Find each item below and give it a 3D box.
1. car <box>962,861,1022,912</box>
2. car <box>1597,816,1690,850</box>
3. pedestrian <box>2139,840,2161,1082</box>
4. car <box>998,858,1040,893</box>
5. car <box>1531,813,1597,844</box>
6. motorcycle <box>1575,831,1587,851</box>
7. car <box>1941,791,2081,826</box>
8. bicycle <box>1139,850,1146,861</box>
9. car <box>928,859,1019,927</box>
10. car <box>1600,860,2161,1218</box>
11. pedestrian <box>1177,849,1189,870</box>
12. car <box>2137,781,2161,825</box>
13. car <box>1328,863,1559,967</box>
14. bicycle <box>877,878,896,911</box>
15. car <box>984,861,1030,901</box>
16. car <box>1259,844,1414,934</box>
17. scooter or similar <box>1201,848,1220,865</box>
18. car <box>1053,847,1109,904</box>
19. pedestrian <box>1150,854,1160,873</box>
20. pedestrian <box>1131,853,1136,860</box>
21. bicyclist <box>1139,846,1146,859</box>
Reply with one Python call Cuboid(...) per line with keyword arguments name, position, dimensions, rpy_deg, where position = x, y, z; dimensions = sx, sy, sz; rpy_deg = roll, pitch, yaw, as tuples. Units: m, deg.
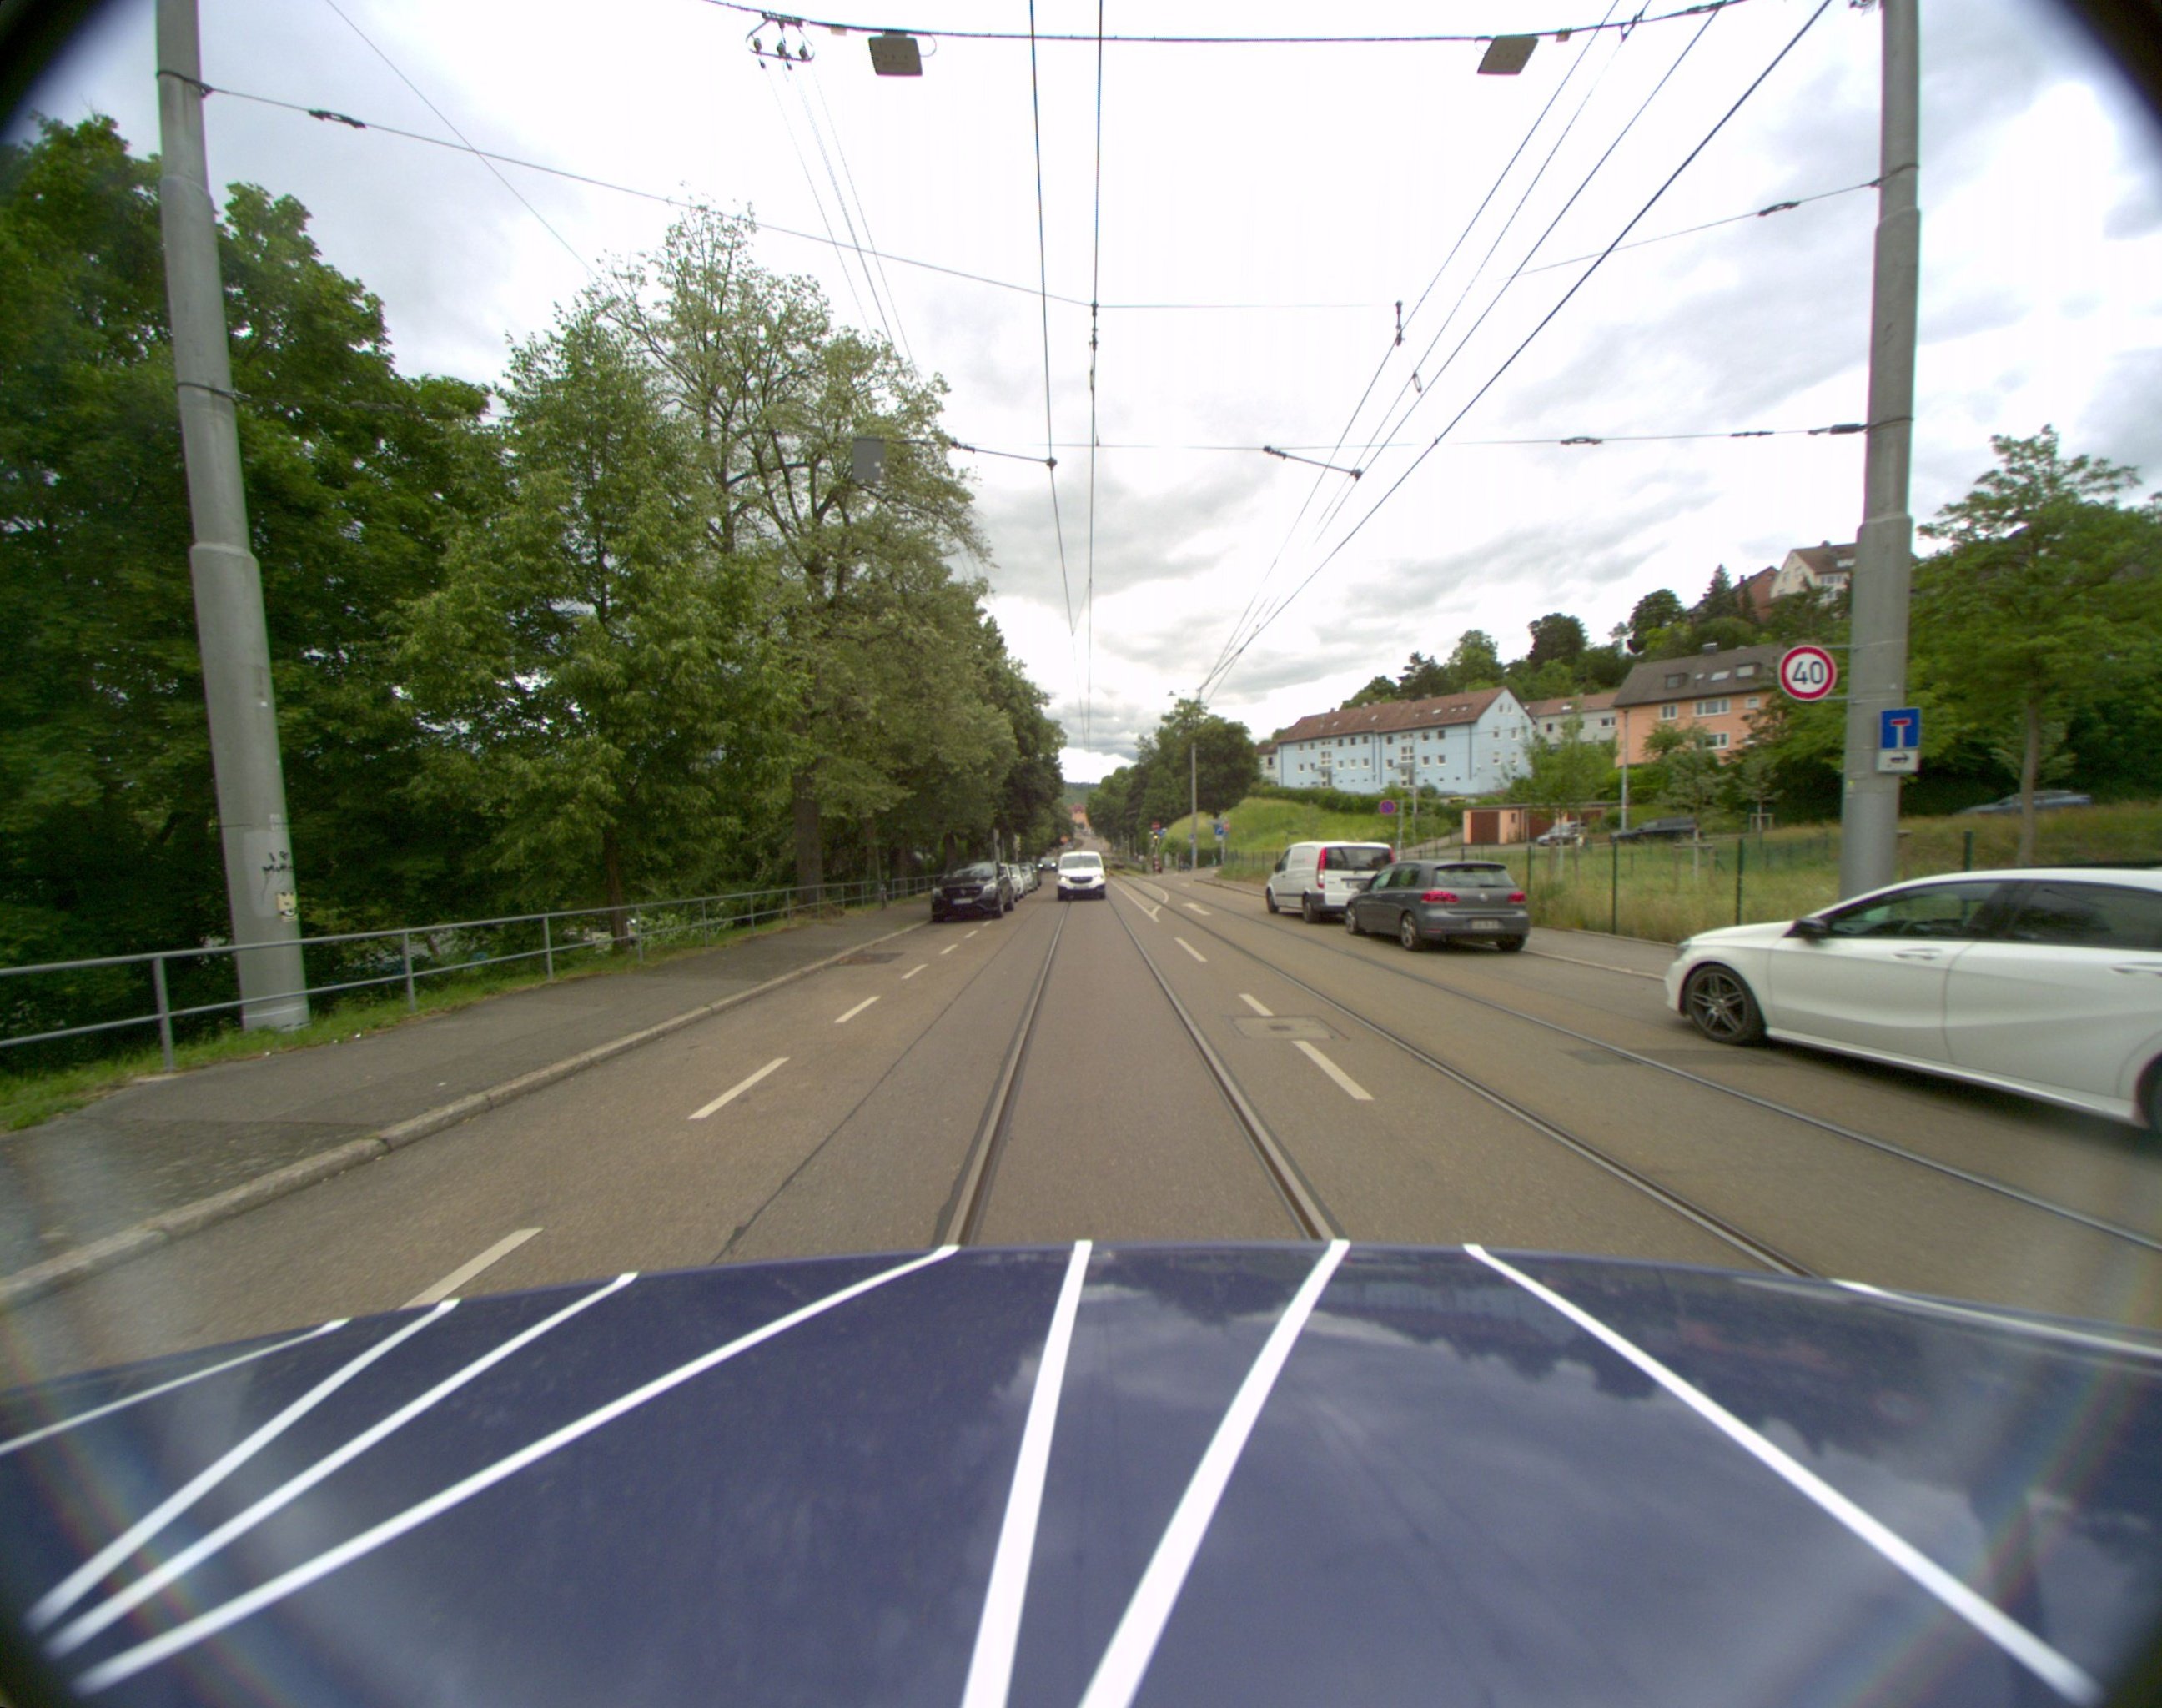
Cuboid(name="car", position=(-3.312, 1.182, 29.078), dimensions=(1.730, 1.622, 4.087), rpy_deg=(-6, 0, -1))
Cuboid(name="car", position=(34.643, -1.273, 46.868), dimensions=(4.440, 1.680, 1.980), rpy_deg=(-6, -1, 38))
Cuboid(name="pedestrian", position=(7.602, 0.710, 4.713), dimensions=(0.807, 1.619, 0.916), rpy_deg=(-2, 2, 1))
Cuboid(name="car", position=(-3.155, 1.070, 39.523), dimensions=(1.738, 1.566, 4.364), rpy_deg=(-2, 1, 0))
Cuboid(name="car", position=(34.311, -1.790, 53.944), dimensions=(4.885, 1.604, 1.995), rpy_deg=(-9, 5, -32))
Cuboid(name="motorcycle", position=(32.145, -0.854, 48.817), dimensions=(0.520, 1.151, 1.707), rpy_deg=(-1, 6, 36))
Cuboid(name="car", position=(46.359, -2.239, 38.016), dimensions=(4.120, 1.503, 1.986), rpy_deg=(-1, 2, 40))
Cuboid(name="bicycle", position=(7.618, 0.204, 93.696), dimensions=(0.752, 1.232, 2.867), rpy_deg=(-3, 0, 4))
Cuboid(name="car", position=(-3.110, 1.063, 23.048), dimensions=(1.882, 1.668, 5.062), rpy_deg=(-4, 0, 1))
Cuboid(name="car", position=(5.799, 0.852, 4.789), dimensions=(1.890, 1.517, 4.663), rpy_deg=(-1, 1, 0))
Cuboid(name="pedestrian", position=(8.535, 0.477, 63.581), dimensions=(0.901, 1.740, 0.743), rpy_deg=(-2, 2, 14))
Cuboid(name="car", position=(51.560, -2.408, 34.335), dimensions=(4.120, 2.002, 1.986), rpy_deg=(-1, 2, 39))
Cuboid(name="car", position=(5.990, 0.915, 13.288), dimensions=(1.901, 1.424, 4.511), rpy_deg=(-1, 0, 0))
Cuboid(name="bicycle", position=(-6.513, 1.339, 25.451), dimensions=(0.428, 0.970, 1.793), rpy_deg=(-3, 1, -10))
Cuboid(name="car", position=(-3.238, 1.156, 33.970), dimensions=(1.633, 1.507, 4.063), rpy_deg=(-5, 0, -1))
Cuboid(name="car", position=(6.010, 0.722, 18.614), dimensions=(2.041, 1.871, 4.883), rpy_deg=(1, 1, -1))
Cuboid(name="scooter or similar", position=(11.029, 0.196, 64.886), dimensions=(1.412, 1.282, 0.418), rpy_deg=(-6, 2, 1))
Cuboid(name="car", position=(0.070, 0.748, 29.430), dimensions=(1.809, 1.910, 4.478), rpy_deg=(-2, 1, 4))
Cuboid(name="pedestrian", position=(6.118, 0.798, 63.157), dimensions=(0.752, 1.565, 0.757), rpy_deg=(-2, 2, 7))
Cuboid(name="pedestrian", position=(9.759, 0.423, 141.811), dimensions=(0.823, 1.315, 0.774), rpy_deg=(-3, 2, -6))
Cuboid(name="bicyclist", position=(7.632, -0.170, 94.177), dimensions=(0.706, 1.619, 1.033), rpy_deg=(-3, 0, 3))
